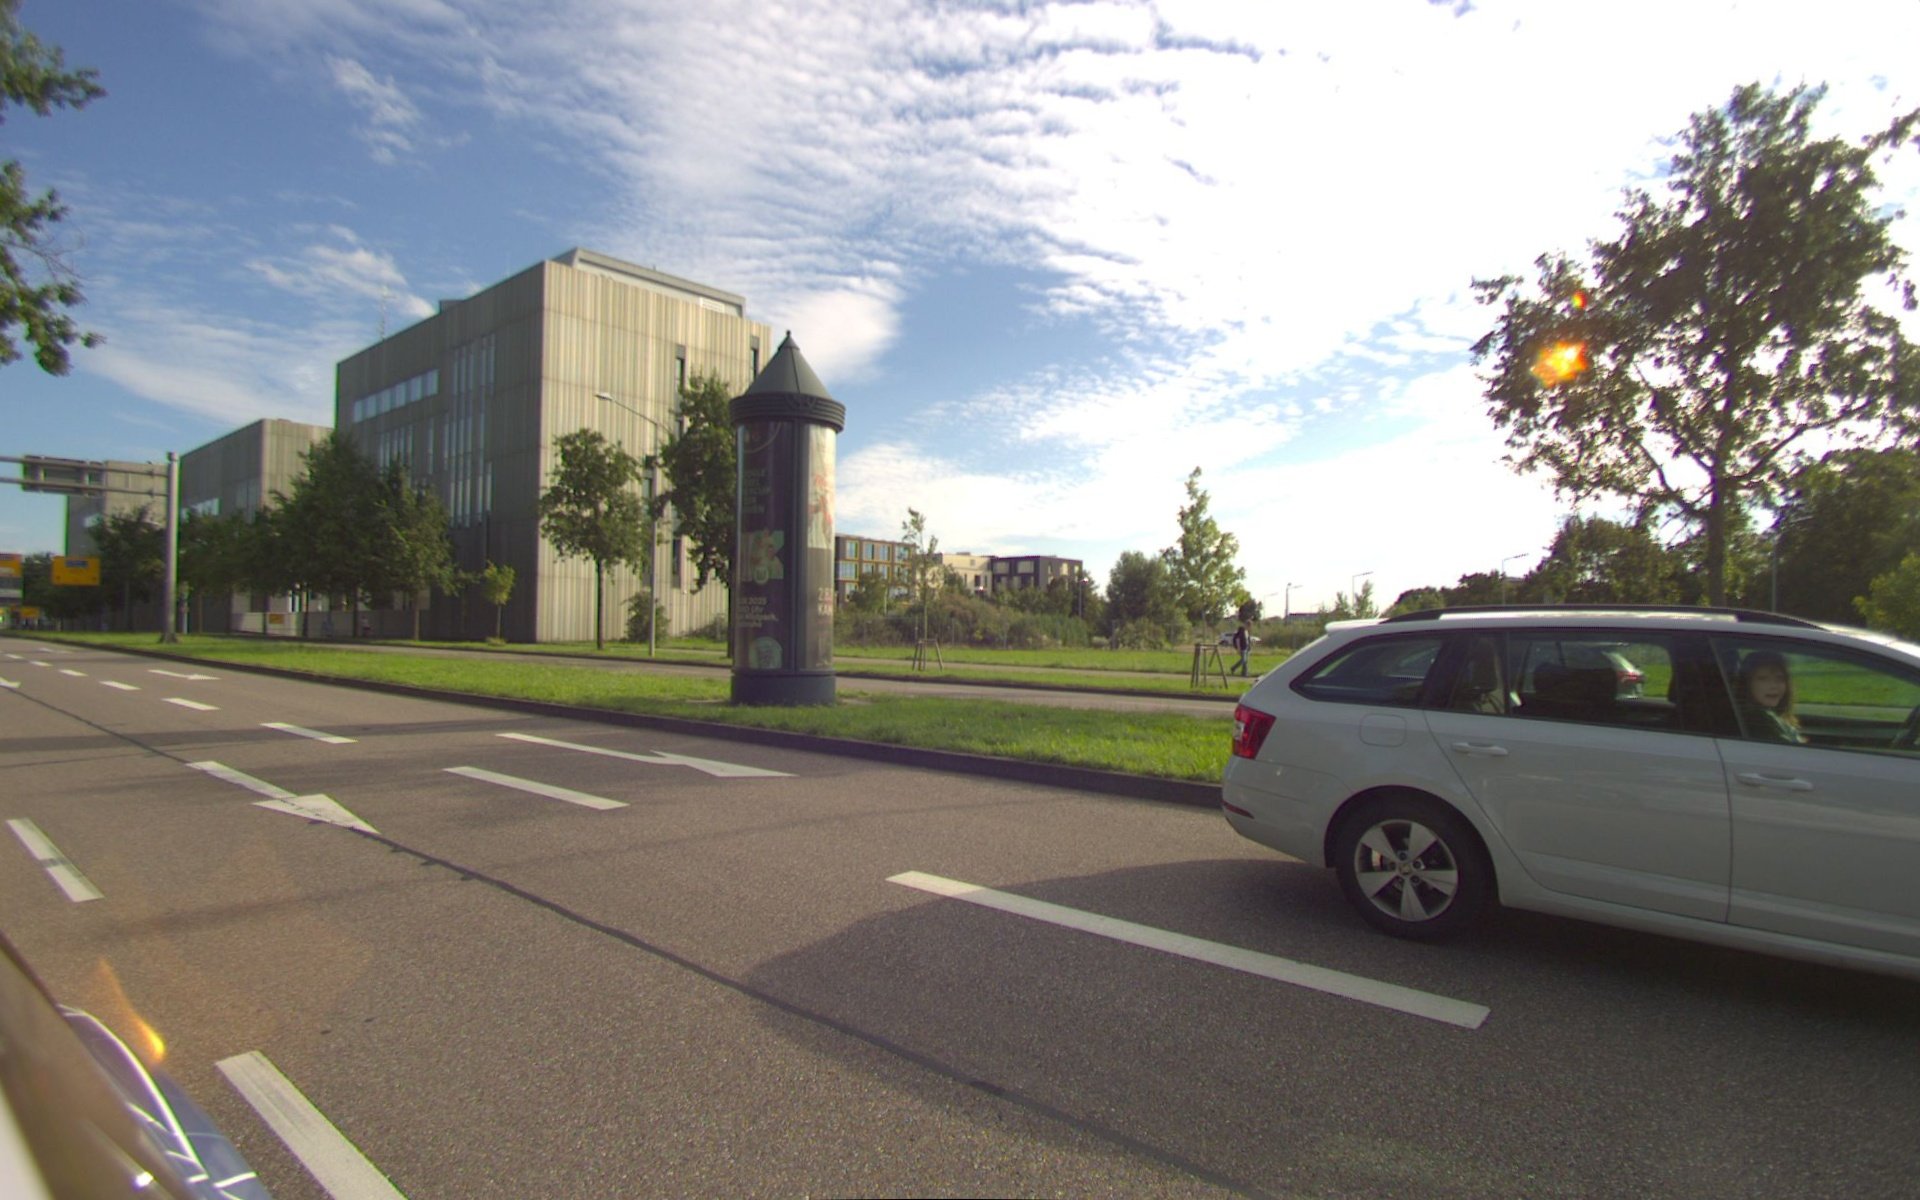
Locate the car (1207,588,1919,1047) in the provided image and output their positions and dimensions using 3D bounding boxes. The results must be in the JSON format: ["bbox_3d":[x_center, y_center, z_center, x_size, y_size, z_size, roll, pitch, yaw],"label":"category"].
[{"bbox_3d":[3.456,0.725,4.187,4.479,1.510,1.681,-1,-1,41],"label":"car"}]

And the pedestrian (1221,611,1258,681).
[{"bbox_3d":[8.354,1.369,30.270,0.867,2.029,0.667,-1,-3,41],"label":"pedestrian"}]

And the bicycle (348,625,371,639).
[{"bbox_3d":[-44.605,2.385,75.170,1.910,0.989,0.885,-1,-3,41],"label":"bicycle"}]

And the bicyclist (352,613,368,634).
[{"bbox_3d":[-44.591,1.732,75.198,0.989,1.537,0.698,-1,-3,41],"label":"bicyclist"}]

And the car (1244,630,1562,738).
[{"bbox_3d":[6.818,1.240,15.801,4.205,1.420,1.881,-1,-4,41],"label":"car"}]
